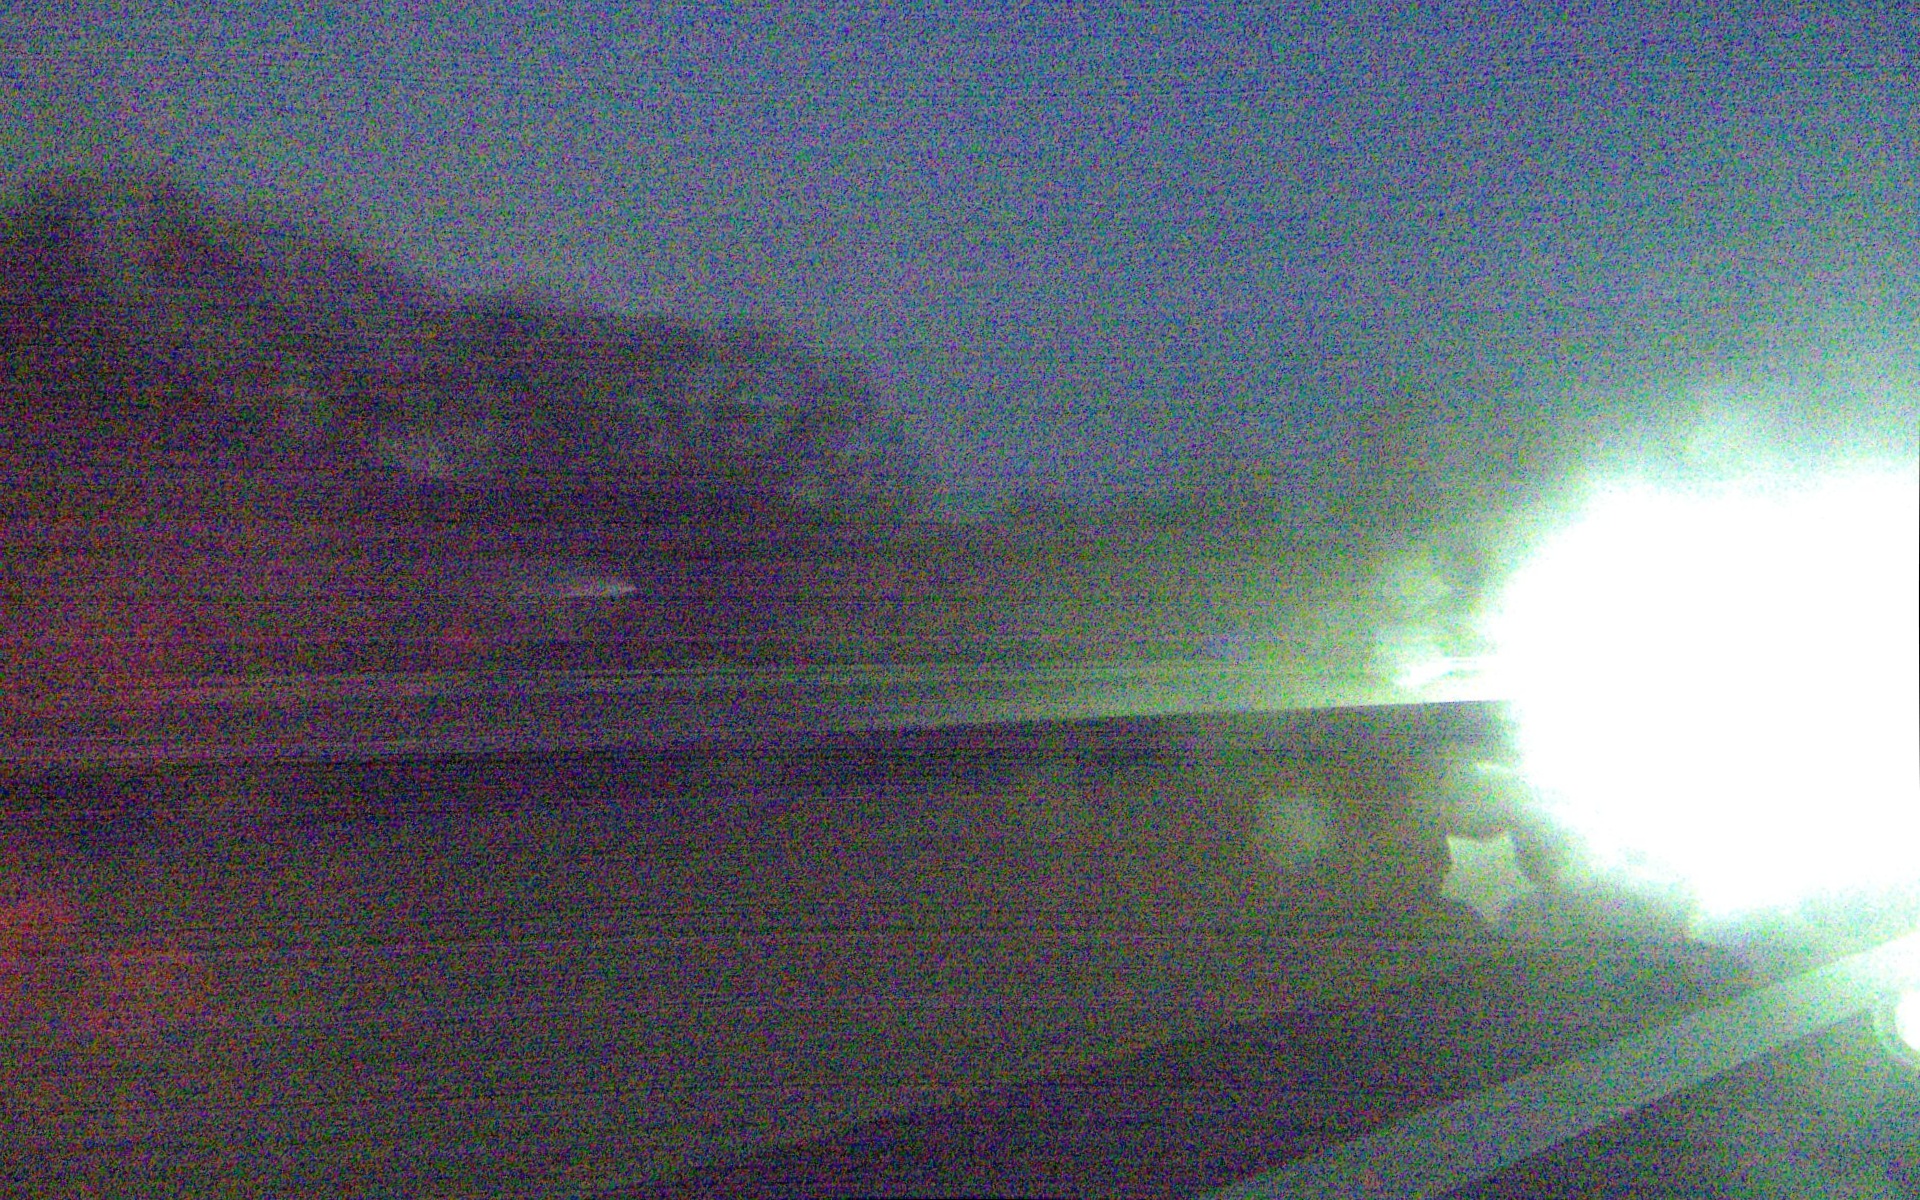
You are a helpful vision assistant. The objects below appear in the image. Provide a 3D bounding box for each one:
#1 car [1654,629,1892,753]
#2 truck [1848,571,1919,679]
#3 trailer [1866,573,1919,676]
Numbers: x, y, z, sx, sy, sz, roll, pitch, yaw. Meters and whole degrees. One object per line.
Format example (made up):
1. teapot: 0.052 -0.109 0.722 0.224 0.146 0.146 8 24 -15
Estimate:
1. car: 15.006 1.560 18.511 4.398 2.040 1.984 1 -2 -30
2. truck: 41.605 1.089 43.240 6.428 4.326 2.958 2 3 -30
3. trailer: 46.908 1.257 46.404 14.689 4.326 2.958 2 3 -30
